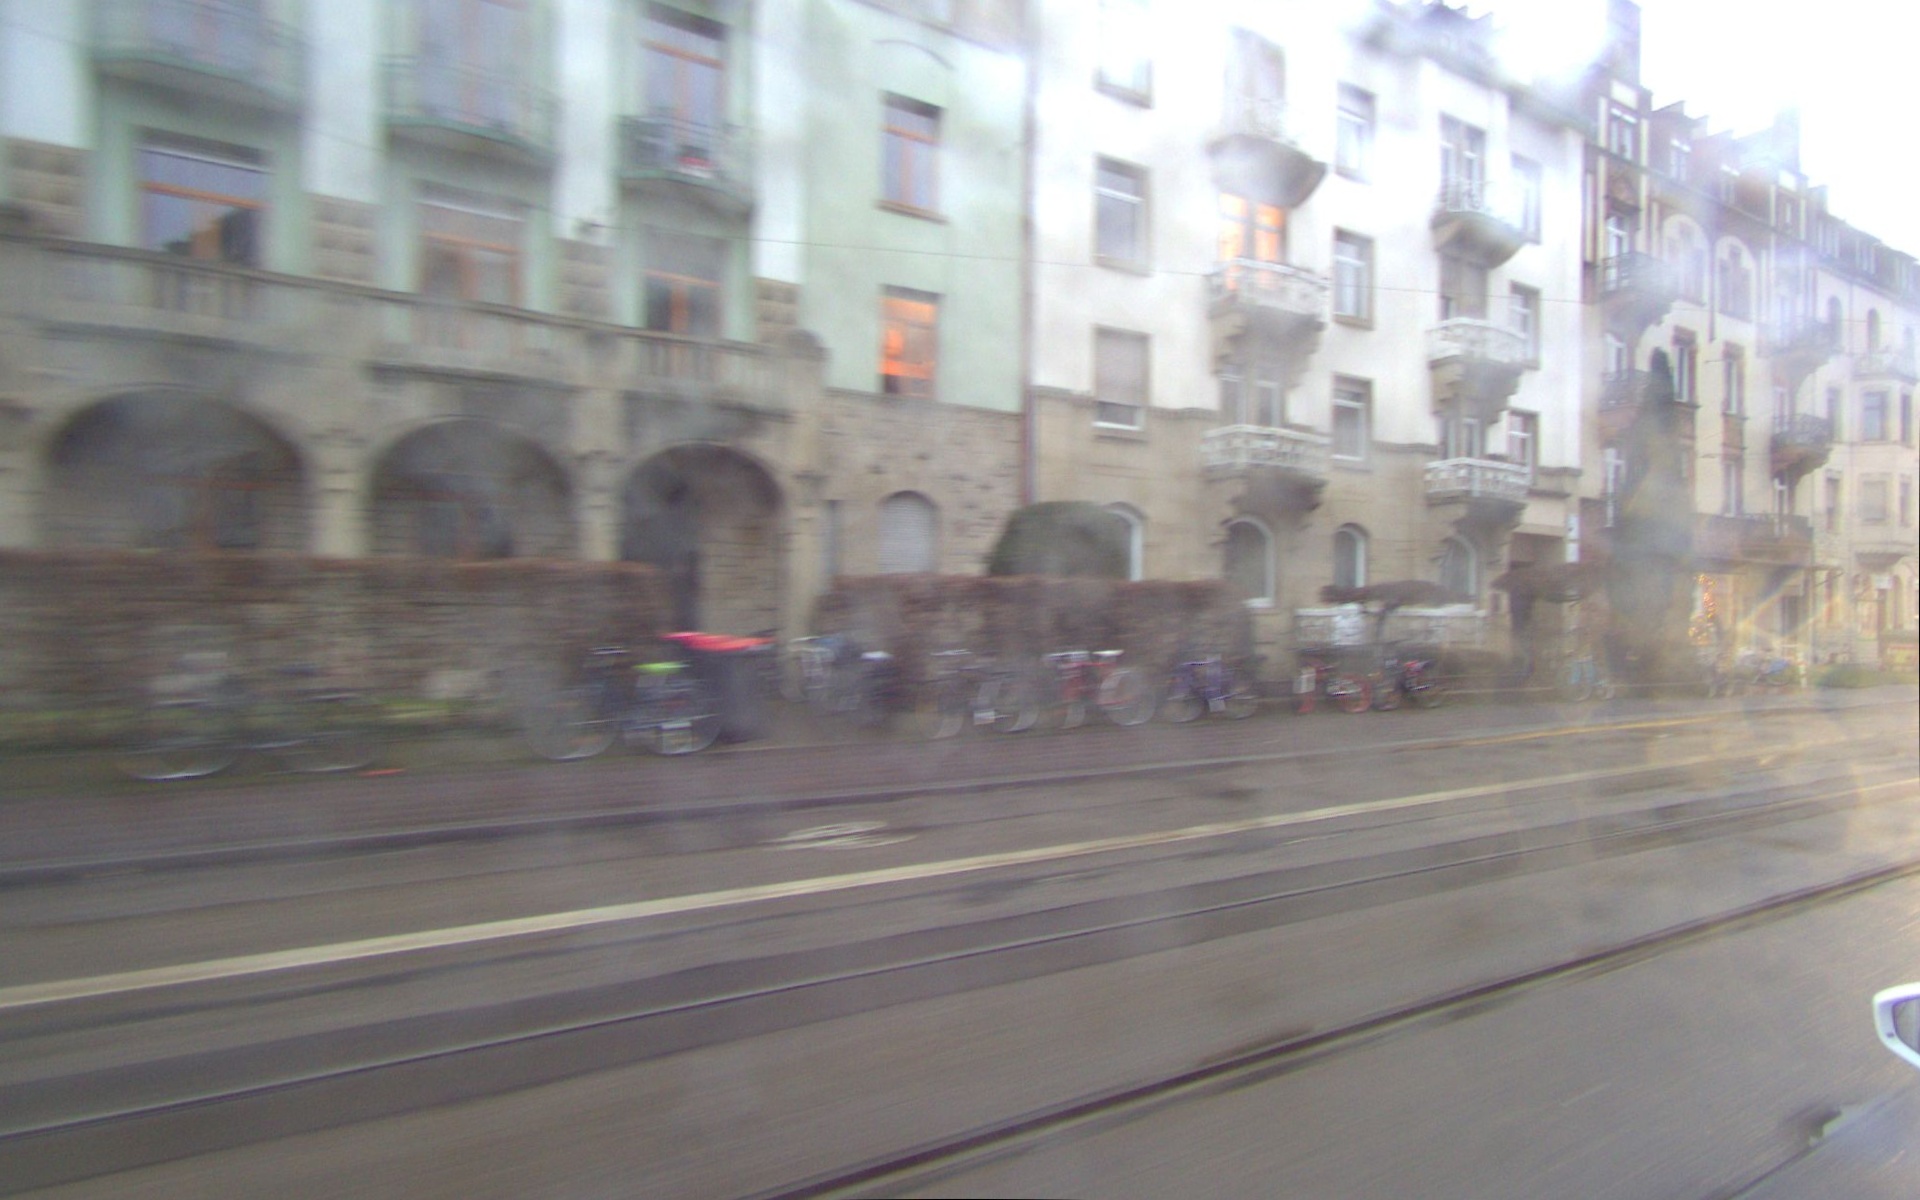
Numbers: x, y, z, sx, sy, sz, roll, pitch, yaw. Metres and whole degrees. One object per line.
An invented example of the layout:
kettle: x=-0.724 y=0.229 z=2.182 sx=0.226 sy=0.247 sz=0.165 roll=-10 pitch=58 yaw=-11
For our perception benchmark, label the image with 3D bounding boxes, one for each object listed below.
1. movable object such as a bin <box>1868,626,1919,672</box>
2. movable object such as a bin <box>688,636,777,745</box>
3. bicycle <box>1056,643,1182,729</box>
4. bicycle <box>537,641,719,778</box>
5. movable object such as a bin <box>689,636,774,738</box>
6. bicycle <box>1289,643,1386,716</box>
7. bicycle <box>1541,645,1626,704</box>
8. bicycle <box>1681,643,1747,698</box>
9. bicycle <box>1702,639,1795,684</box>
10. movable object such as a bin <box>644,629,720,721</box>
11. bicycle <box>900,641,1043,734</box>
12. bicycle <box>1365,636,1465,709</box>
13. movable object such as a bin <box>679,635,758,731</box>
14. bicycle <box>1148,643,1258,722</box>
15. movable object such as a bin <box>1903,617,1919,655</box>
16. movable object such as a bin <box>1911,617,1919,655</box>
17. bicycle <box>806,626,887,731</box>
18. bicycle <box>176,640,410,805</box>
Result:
movable object such as a bin: x=32.849 y=1.687 z=35.023 sx=1.348 sy=1.551 sz=1.402 roll=0 pitch=-1 yaw=-30
movable object such as a bin: x=-2.558 y=0.992 z=11.286 sx=0.738 sy=1.152 sz=0.687 roll=1 pitch=-1 yaw=-44
bicycle: x=2.095 y=1.130 z=13.151 sx=1.581 sy=1.044 sz=0.688 roll=6 pitch=-5 yaw=-35
bicycle: x=-3.276 y=1.034 z=9.982 sx=1.583 sy=1.228 sz=0.686 roll=1 pitch=-1 yaw=-40
movable object such as a bin: x=-2.715 y=1.007 z=11.928 sx=0.738 sy=1.152 sz=0.687 roll=1 pitch=-1 yaw=-44
bicycle: x=5.763 y=1.185 z=15.303 sx=1.583 sy=1.044 sz=0.686 roll=2 pitch=-2 yaw=-40
bicycle: x=11.650 y=1.370 z=18.752 sx=1.785 sy=1.031 sz=0.622 roll=1 pitch=-2 yaw=-32
bicycle: x=16.421 y=1.512 z=21.855 sx=1.792 sy=1.095 sz=0.610 roll=0 pitch=-1 yaw=-35
bicycle: x=20.415 y=1.582 z=26.026 sx=0.610 sy=1.095 sz=1.792 roll=0 pitch=-1 yaw=-36
movable object such as a bin: x=-3.667 y=0.966 z=13.258 sx=0.738 sy=1.152 sz=0.687 roll=1 pitch=-1 yaw=-44
bicycle: x=0.153 y=1.073 z=12.237 sx=1.576 sy=1.044 sz=0.689 roll=5 pitch=-4 yaw=-30
bicycle: x=7.351 y=1.149 z=16.214 sx=1.909 sy=1.114 sz=0.484 roll=1 pitch=-2 yaw=-32
movable object such as a bin: x=-3.073 y=1.029 z=12.778 sx=0.738 sy=1.152 sz=0.687 roll=1 pitch=-1 yaw=-44
bicycle: x=3.437 y=1.148 z=14.142 sx=1.583 sy=1.044 sz=0.686 roll=3 pitch=-3 yaw=-40
movable object such as a bin: x=40.958 y=1.533 z=42.680 sx=1.067 sy=1.622 sz=1.010 roll=0 pitch=-1 yaw=-28
movable object such as a bin: x=41.992 y=1.543 z=43.363 sx=1.140 sy=1.622 sz=1.010 roll=0 pitch=-1 yaw=-28
bicycle: x=-1.522 y=1.013 z=13.272 sx=0.483 sy=1.279 sz=1.585 roll=6 pitch=-4 yaw=-25
bicycle: x=-5.566 y=0.964 z=8.427 sx=1.583 sy=1.228 sz=0.624 roll=1 pitch=-1 yaw=-40
